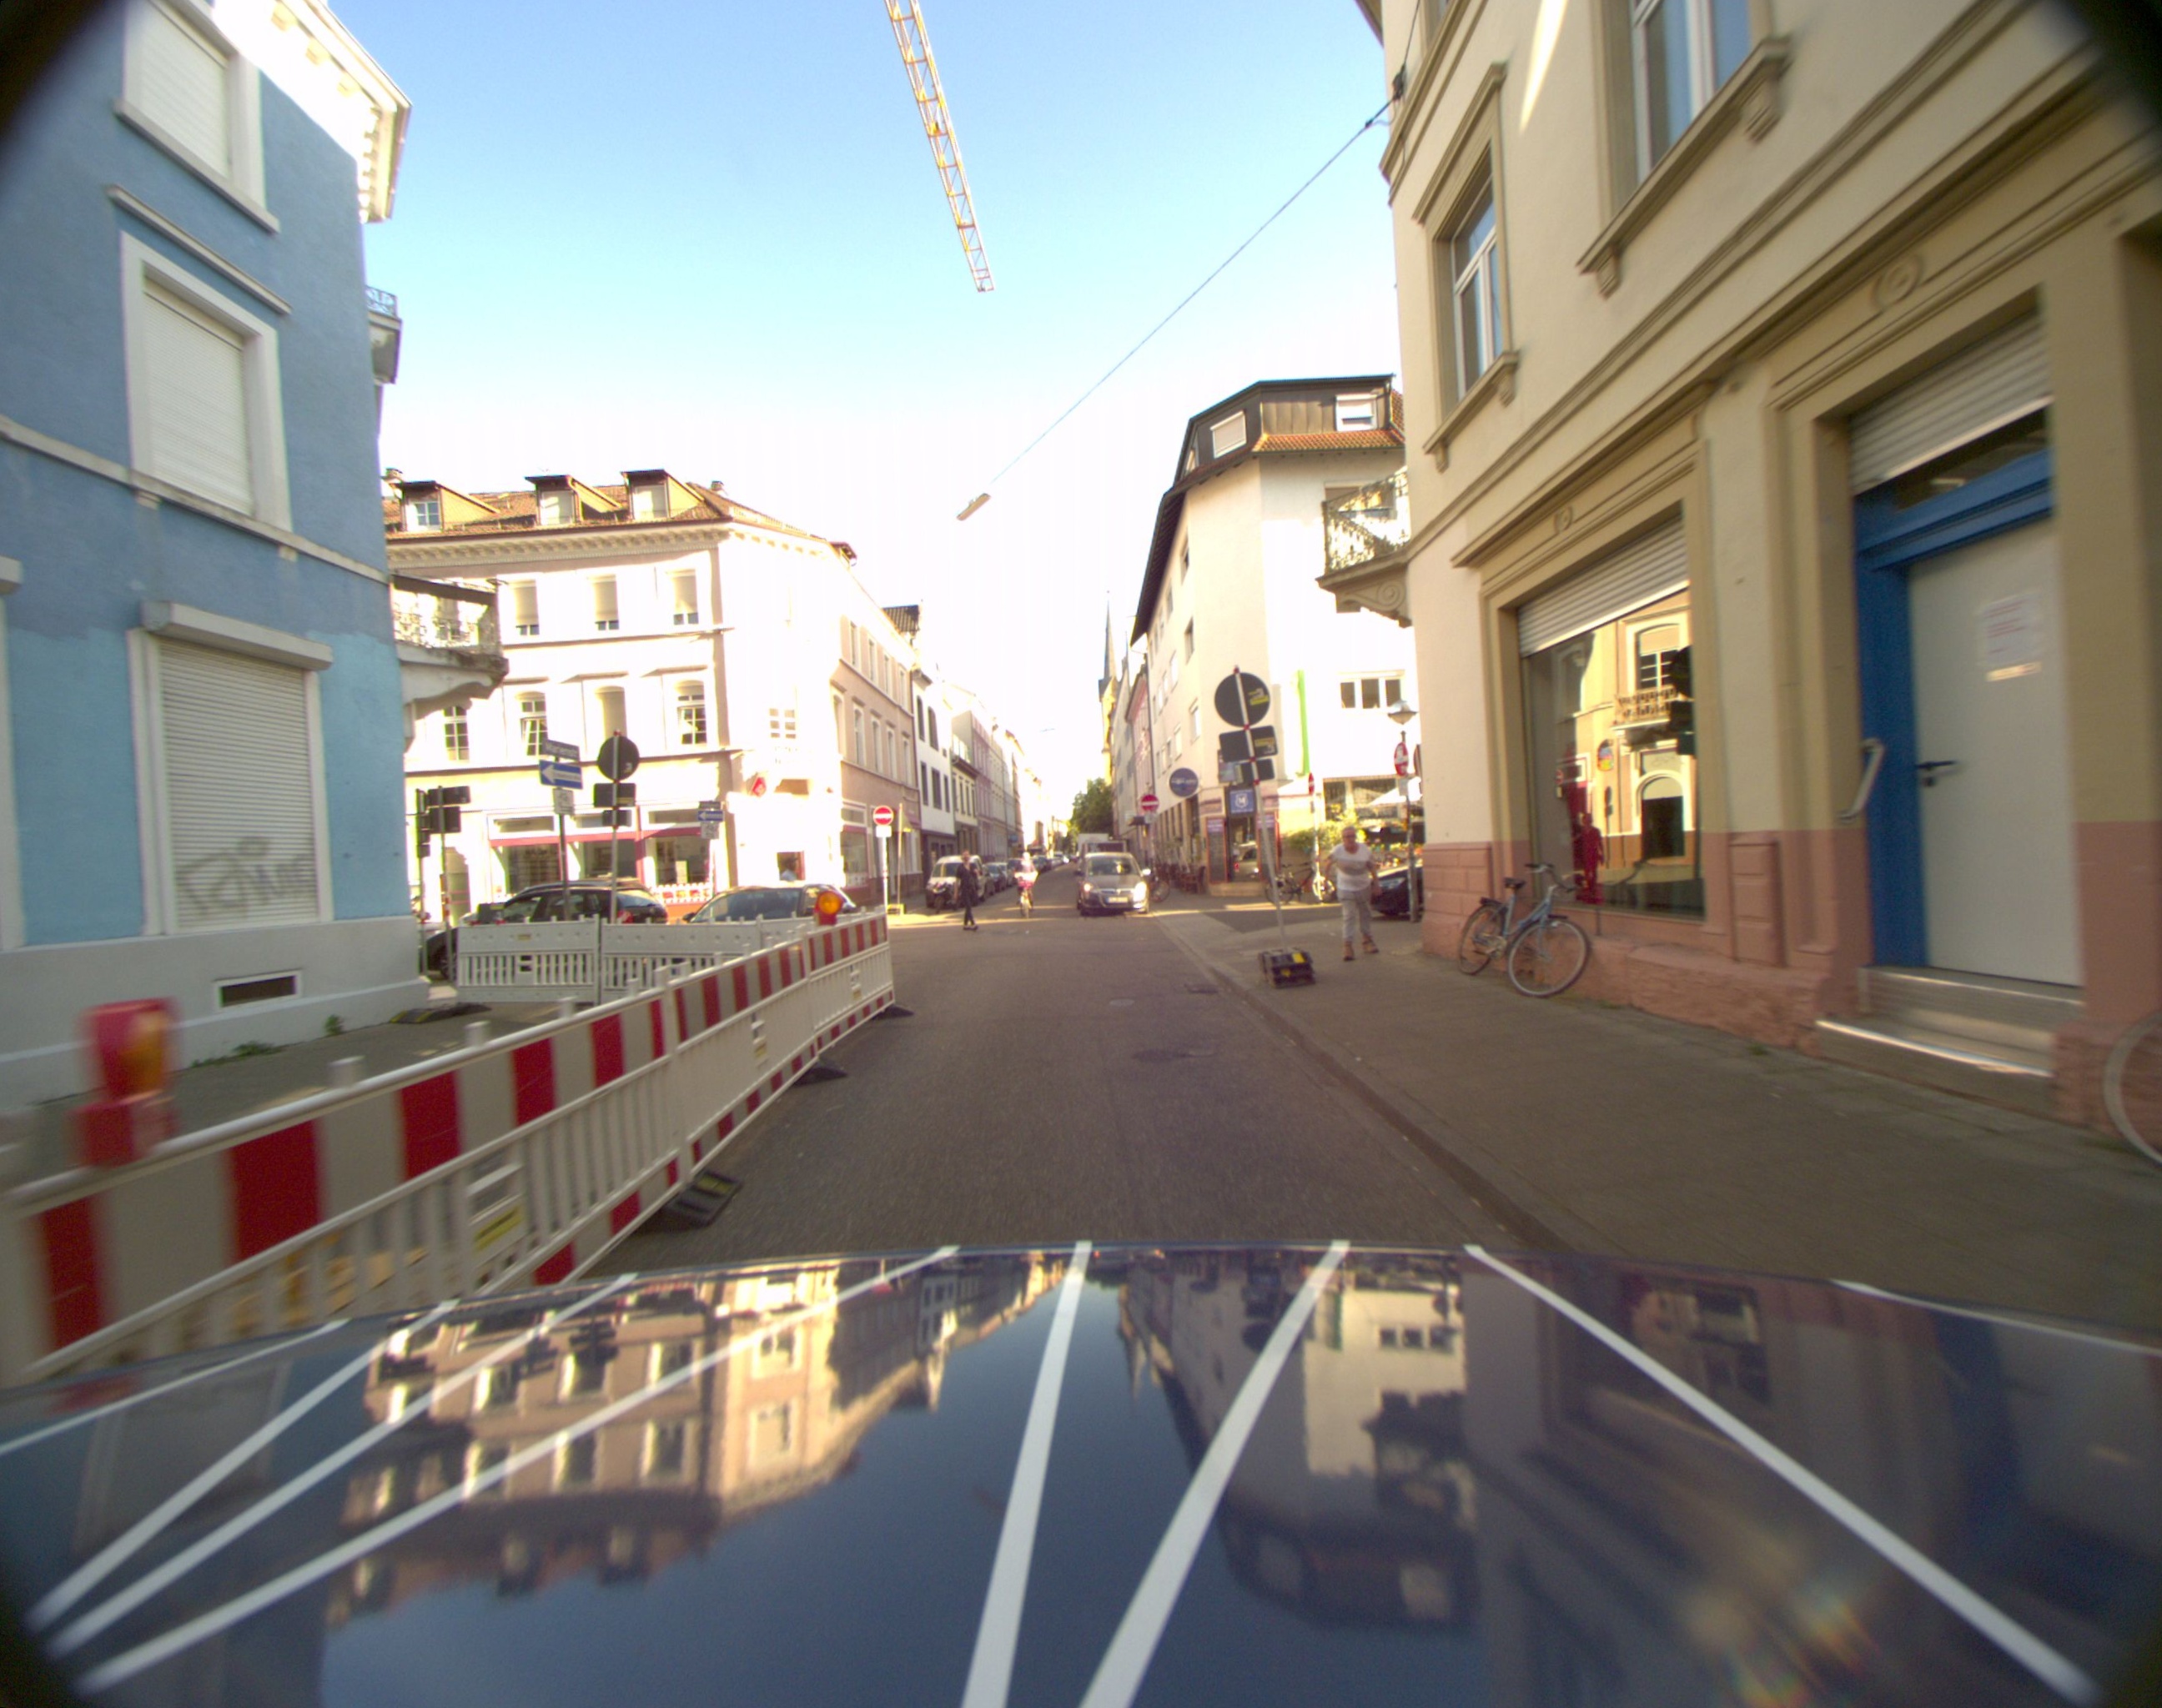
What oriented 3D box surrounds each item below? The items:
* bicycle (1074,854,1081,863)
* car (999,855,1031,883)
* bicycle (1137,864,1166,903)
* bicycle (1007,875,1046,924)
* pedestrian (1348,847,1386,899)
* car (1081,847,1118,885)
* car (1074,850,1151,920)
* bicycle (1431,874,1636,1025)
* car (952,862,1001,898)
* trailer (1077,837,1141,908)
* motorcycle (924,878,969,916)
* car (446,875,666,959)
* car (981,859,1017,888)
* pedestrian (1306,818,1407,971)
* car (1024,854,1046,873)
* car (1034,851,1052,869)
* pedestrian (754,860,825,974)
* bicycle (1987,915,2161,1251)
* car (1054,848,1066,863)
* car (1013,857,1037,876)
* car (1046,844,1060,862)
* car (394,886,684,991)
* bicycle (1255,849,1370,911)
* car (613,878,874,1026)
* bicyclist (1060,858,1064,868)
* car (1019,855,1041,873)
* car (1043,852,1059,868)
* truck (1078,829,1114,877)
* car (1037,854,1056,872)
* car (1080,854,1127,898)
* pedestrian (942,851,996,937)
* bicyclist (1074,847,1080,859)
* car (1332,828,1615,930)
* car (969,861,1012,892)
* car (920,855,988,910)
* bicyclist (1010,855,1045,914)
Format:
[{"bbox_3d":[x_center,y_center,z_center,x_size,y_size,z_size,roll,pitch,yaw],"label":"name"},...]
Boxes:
[{"bbox_3d":[-0.704,0.791,148.965,1.020,1.641,3.546,-5,1,-4],"label":"bicycle"},{"bbox_3d":[-4.474,0.963,52.011,1.713,1.721,4.407,-2,1,0],"label":"car"},{"bbox_3d":[2.181,0.900,23.655,0.578,1.132,1.460,-5,1,-5],"label":"bicycle"},{"bbox_3d":[-1.368,1.128,19.399,0.710,1.105,1.935,-3,0,2],"label":"bicycle"},{"bbox_3d":[7.330,0.480,19.507,0.687,1.259,0.660,-4,1,4],"label":"pedestrian"},{"bbox_3d":[0.926,0.595,40.383,1.807,1.834,4.243,-3,1,0],"label":"car"},{"bbox_3d":[0.737,0.752,20.284,1.726,1.596,4.166,-2,0,-1],"label":"car"},{"bbox_3d":[3.800,0.741,6.591,0.605,1.016,1.818,-7,0,1],"label":"bicycle"},{"bbox_3d":[-4.654,1.136,34.325,1.613,1.400,3.881,-2,1,0],"label":"car"},{"bbox_3d":[0.808,0.531,24.607,1.666,2.049,4.362,-2,1,-2],"label":"trailer"},{"bbox_3d":[-4.355,1.382,24.718,0.720,1.080,1.997,-2,1,11],"label":"motorcycle"},{"bbox_3d":[-12.967,1.519,18.957,4.069,1.623,1.855,-4,3,1],"label":"car"},{"bbox_3d":[-4.685,1.111,43.969,1.620,1.495,3.772,-2,1,0],"label":"car"},{"bbox_3d":[3.306,0.480,9.200,0.695,1.691,0.865,-8,-1,0],"label":"pedestrian"},{"bbox_3d":[-4.300,0.871,71.567,1.713,1.721,4.220,-2,1,0],"label":"car"},{"bbox_3d":[-4.165,0.631,83.630,1.713,1.802,4.220,-2,1,0],"label":"car"},{"bbox_3d":[-5.021,1.065,13.121,0.771,1.839,0.780,-5,1,-1],"label":"pedestrian"},{"bbox_3d":[3.785,0.763,1.987,0.623,1.016,1.818,-5,0,1],"label":"bicycle"},{"bbox_3d":[-4.066,0.318,148.737,1.999,2.777,4.562,-5,1,-3],"label":"car"},{"bbox_3d":[-4.426,0.978,60.246,1.613,1.388,3.881,-2,1,0],"label":"car"},{"bbox_3d":[-4.569,-0.158,122.600,1.999,2.777,4.562,-5,1,-3],"label":"car"},{"bbox_3d":[-9.496,1.448,13.538,3.877,1.445,1.677,-4,0,1],"label":"car"},{"bbox_3d":[5.684,0.621,18.775,2.482,1.351,0.928,-3,1,1],"label":"bicycle"},{"bbox_3d":[-4.403,1.181,10.688,1.776,1.426,4.033,-4,0,0],"label":"car"},{"bbox_3d":[-3.302,1.517,132.214,0.716,1.650,0.877,-5,1,-2],"label":"bicyclist"},{"bbox_3d":[-4.475,0.886,66.478,1.613,1.444,3.881,-2,1,0],"label":"car"},{"bbox_3d":[-4.225,0.814,105.117,1.999,2.002,4.562,-5,1,-3],"label":"car"},{"bbox_3d":[1.101,-0.113,54.719,2.296,3.165,7.044,-3,1,1],"label":"truck"},{"bbox_3d":[-4.179,1.042,92.408,1.999,2.002,4.563,-5,1,-2],"label":"car"},{"bbox_3d":[0.826,0.804,30.147,1.681,1.546,3.817,-2,1,0],"label":"car"},{"bbox_3d":[-2.448,0.835,16.569,0.829,1.782,0.988,-1,1,-29],"label":"pedestrian"},{"bbox_3d":[-0.795,-0.118,148.932,1.020,2.280,1.531,-5,1,-4],"label":"bicyclist"},{"bbox_3d":[6.948,0.428,13.746,4.150,1.447,1.758,-4,0,-2],"label":"car"},{"bbox_3d":[-4.640,1.121,39.480,1.736,1.388,3.881,-2,1,0],"label":"car"},{"bbox_3d":[-4.631,0.983,28.340,1.753,1.806,4.369,-2,1,0],"label":"car"},{"bbox_3d":[-1.356,0.760,19.367,0.710,1.427,0.790,-3,1,2],"label":"bicyclist"}]
